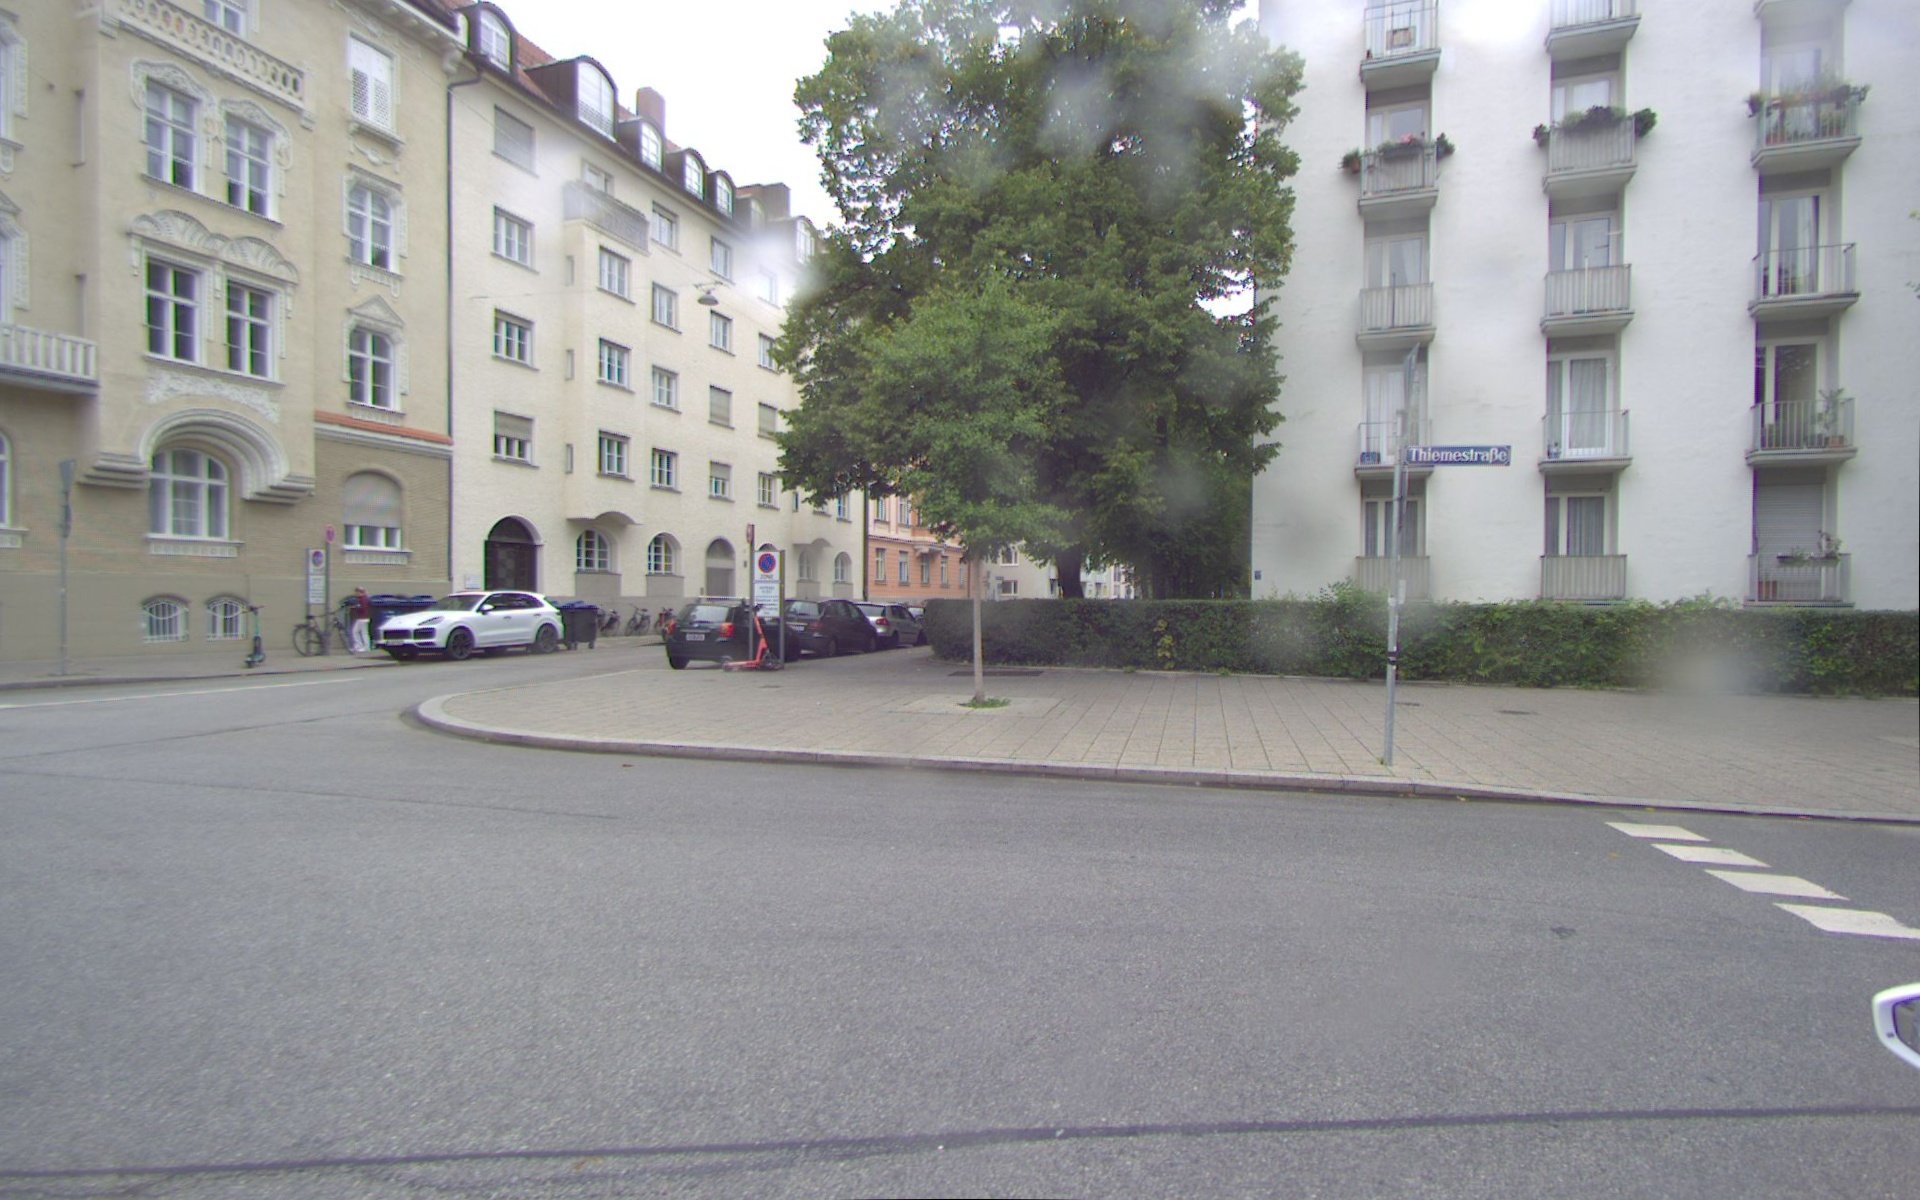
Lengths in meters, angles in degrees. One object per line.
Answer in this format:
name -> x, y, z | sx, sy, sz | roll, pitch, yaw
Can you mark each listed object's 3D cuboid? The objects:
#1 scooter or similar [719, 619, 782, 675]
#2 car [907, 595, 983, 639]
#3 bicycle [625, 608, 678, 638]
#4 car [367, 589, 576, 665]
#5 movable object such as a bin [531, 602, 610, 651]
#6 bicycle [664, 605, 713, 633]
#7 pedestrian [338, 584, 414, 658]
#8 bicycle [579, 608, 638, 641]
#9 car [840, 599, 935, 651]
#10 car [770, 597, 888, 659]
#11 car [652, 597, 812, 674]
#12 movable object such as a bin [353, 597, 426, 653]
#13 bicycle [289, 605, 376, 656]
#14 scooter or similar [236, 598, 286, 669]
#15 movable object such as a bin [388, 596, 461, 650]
scooter or similar -> -4.035, 0.905, 19.345 | 1.118, 1.039, 0.379 | 1, 0, 7
car -> -0.489, 0.608, 37.479 | 1.740, 1.538, 4.036 | 1, 0, 16
bicycle -> -11.938, 0.881, 38.964 | 0.740, 1.124, 2.294 | 1, 0, 20
car -> -12.237, 0.618, 25.580 | 1.960, 1.714, 4.810 | 1, 0, 19
movable object such as a bin -> -11.513, 0.764, 29.754 | 1.532, 1.368, 1.537 | 1, 0, 21
bicycle -> -11.129, 0.773, 41.225 | 0.740, 1.124, 2.294 | 1, 0, 20
pedestrian -> -15.006, 0.523, 25.813 | 1.110, 1.829, 1.271 | 0, 0, 21
bicycle -> -12.714, 0.861, 36.385 | 0.740, 1.124, 2.294 | 1, 0, 20
car -> -2.230, 0.742, 32.197 | 1.740, 1.538, 4.036 | 1, 0, 16
car -> -3.518, 0.714, 27.644 | 1.740, 1.538, 4.036 | 1, 0, 16
car -> -4.944, 0.721, 22.411 | 1.740, 1.538, 4.036 | 1, 0, 16
movable object such as a bin -> -15.566, 0.660, 27.446 | 1.319, 1.477, 1.163 | 0, 0, 20
bicycle -> -15.002, 0.706, 24.060 | 0.539, 1.165, 1.845 | 1, 0, 18
scooter or similar -> -14.537, 0.680, 20.922 | 0.700, 1.413, 1.346 | 0, 0, -29
movable object such as a bin -> -15.209, 0.644, 28.542 | 1.319, 1.477, 1.296 | 0, 0, 20
